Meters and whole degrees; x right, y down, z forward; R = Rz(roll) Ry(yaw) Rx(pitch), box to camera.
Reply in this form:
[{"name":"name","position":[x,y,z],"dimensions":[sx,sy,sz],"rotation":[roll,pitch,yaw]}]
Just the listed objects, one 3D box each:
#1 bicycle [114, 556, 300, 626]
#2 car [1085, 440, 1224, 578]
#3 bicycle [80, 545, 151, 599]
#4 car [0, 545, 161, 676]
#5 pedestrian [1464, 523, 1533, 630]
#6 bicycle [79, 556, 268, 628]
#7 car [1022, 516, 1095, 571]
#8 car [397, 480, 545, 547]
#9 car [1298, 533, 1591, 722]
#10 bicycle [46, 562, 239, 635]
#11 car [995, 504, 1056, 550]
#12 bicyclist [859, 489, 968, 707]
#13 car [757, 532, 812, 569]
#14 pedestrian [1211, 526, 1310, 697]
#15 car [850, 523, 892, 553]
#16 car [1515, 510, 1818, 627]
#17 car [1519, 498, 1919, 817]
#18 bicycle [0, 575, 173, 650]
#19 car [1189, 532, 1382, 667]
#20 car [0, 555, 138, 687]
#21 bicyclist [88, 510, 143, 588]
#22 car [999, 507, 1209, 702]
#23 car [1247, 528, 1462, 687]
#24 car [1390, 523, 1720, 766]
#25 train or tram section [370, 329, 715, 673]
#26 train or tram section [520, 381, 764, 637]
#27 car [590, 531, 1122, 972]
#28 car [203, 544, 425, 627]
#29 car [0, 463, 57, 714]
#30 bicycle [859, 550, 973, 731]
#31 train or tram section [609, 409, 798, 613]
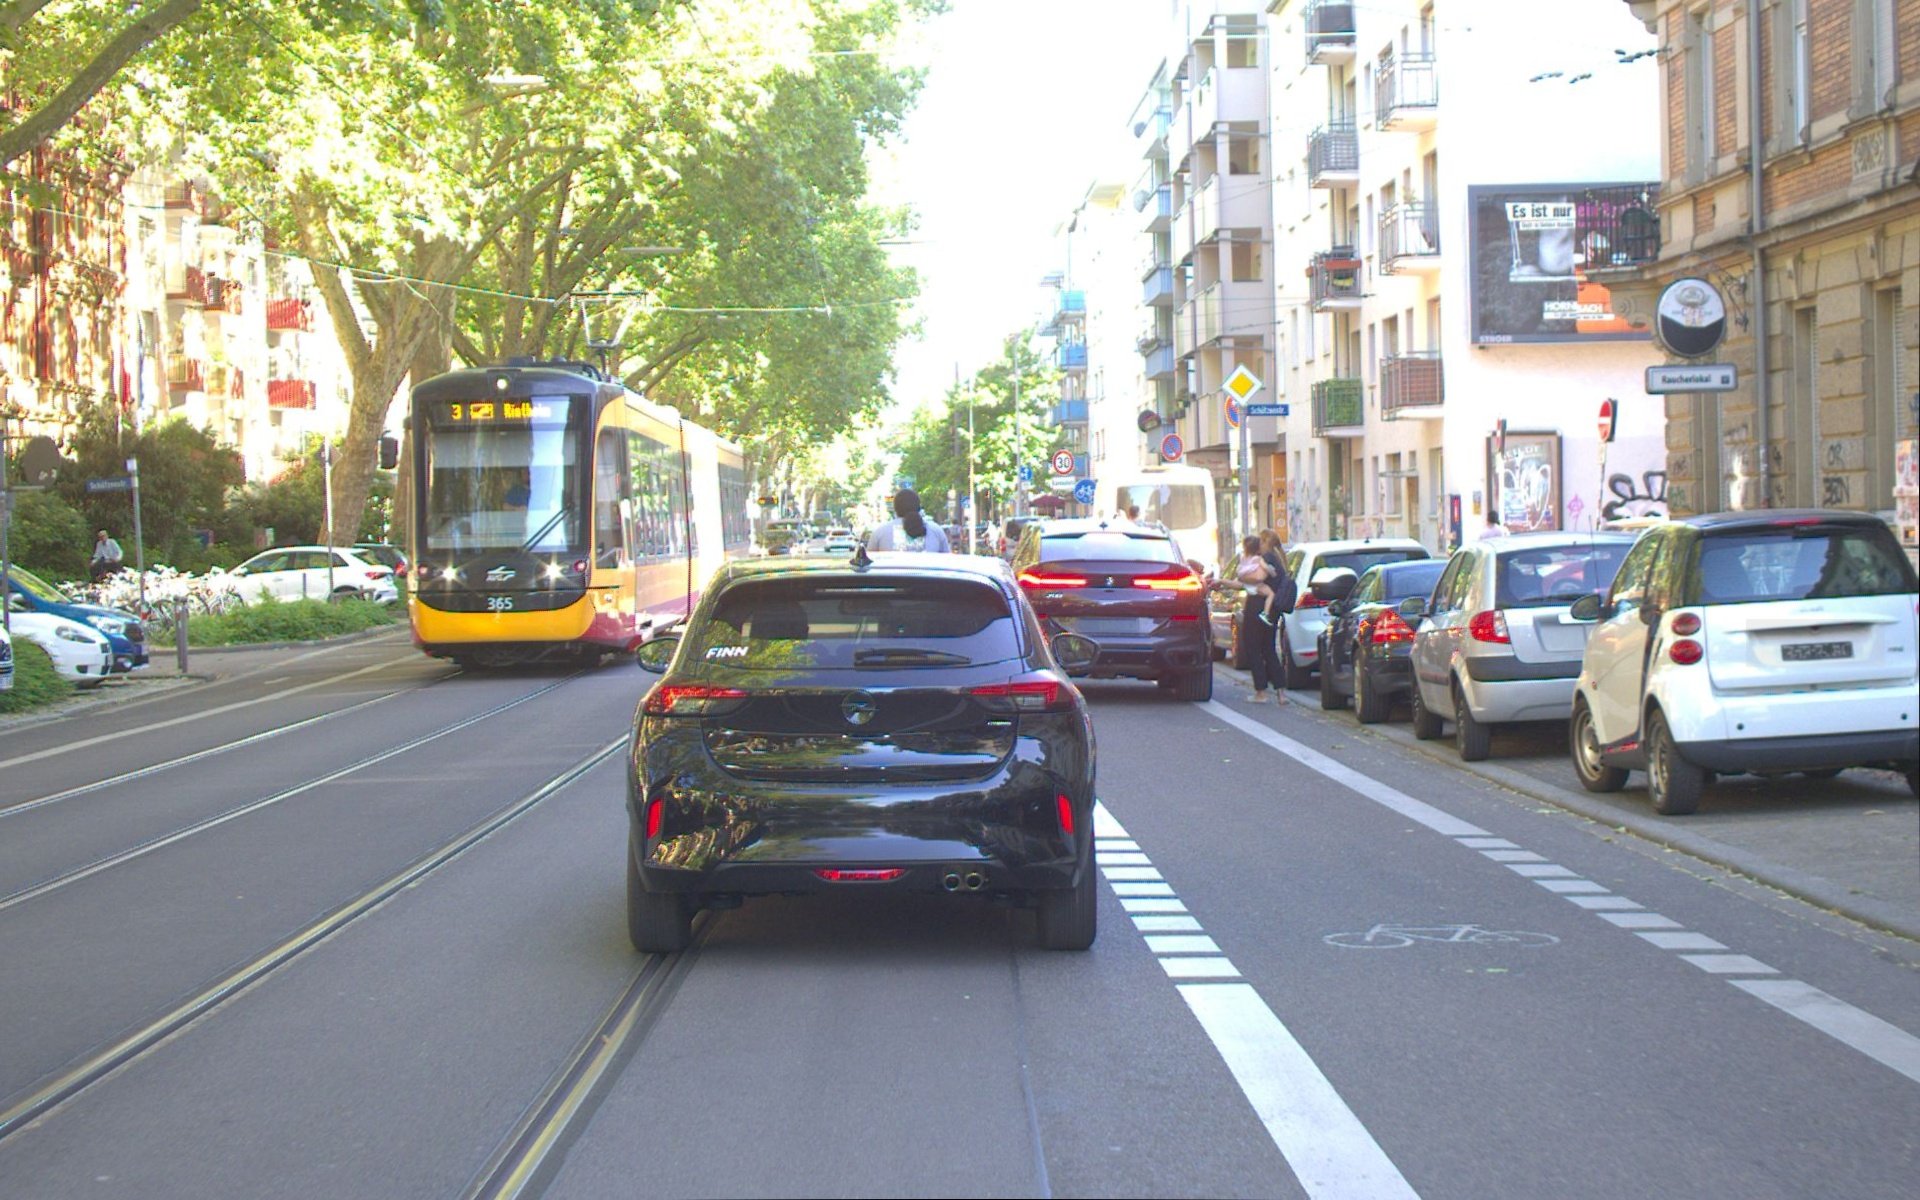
[{"name":"bicycle","position":[-12.738,-0.152,58.185],"dimensions":[2.945,1.165,0.989],"rotation":[0,1,16]},{"name":"car","position":[3.437,-1.614,61.594],"dimensions":[2.075,2.211,4.933],"rotation":[-4,1,0]},{"name":"bicycle","position":[-18.981,-0.640,77.321],"dimensions":[0.987,1.165,2.953],"rotation":[0,1,-3]},{"name":"car","position":[-12.063,0.103,42.733],"dimensions":[3.919,1.572,1.677],"rotation":[1,1,-3]},{"name":"pedestrian","position":[7.880,-0.349,50.331],"dimensions":[0.866,1.561,0.768],"rotation":[0,1,-2]},{"name":"bicycle","position":[-13.066,-0.133,57.120],"dimensions":[2.945,1.165,0.989],"rotation":[0,1,16]},{"name":"car","position":[2.673,-1.552,93.930],"dimensions":[1.810,1.333,3.933],"rotation":[-4,1,0]},{"name":"car","position":[-13.487,-2.385,94.993],"dimensions":[3.919,1.784,1.677],"rotation":[1,1,-3]},{"name":"car","position":[3.952,0.175,28.645],"dimensions":[1.810,1.333,3.933],"rotation":[-4,1,0]},{"name":"bicycle","position":[-13.333,-0.022,56.065],"dimensions":[2.945,1.165,0.989],"rotation":[0,1,16]},{"name":"car","position":[2.116,-2.375,111.794],"dimensions":[1.810,1.333,3.933],"rotation":[-4,1,0]},{"name":"bicyclist","position":[-0.391,-0.029,28.009],"dimensions":[0.848,1.734,1.162],"rotation":[0,1,-2]},{"name":"car","position":[-6.548,-1.865,128.383],"dimensions":[1.810,1.333,3.933],"rotation":[-1,1,0]},{"name":"pedestrian","position":[2.775,0.096,31.841],"dimensions":[0.866,1.561,0.768],"rotation":[0,1,2]},{"name":"car","position":[-4.128,-2.886,159.584],"dimensions":[1.810,1.333,3.933],"rotation":[-1,1,0]},{"name":"car","position":[11.152,-0.506,54.436],"dimensions":[4.377,1.792,1.876],"rotation":[0,1,-1]},{"name":"car","position":[4.239,0.264,18.973],"dimensions":[1.567,1.512,3.041],"rotation":[-4,1,-3]},{"name":"bicycle","position":[-14.138,0.201,54.915],"dimensions":[2.945,1.165,0.989],"rotation":[0,1,16]},{"name":"car","position":[3.748,-0.044,40.154],"dimensions":[1.810,1.375,3.933],"rotation":[-4,1,0]},{"name":"car","position":[-11.775,0.215,40.277],"dimensions":[3.919,1.493,1.677],"rotation":[1,1,-3]},{"name":"bicyclist","position":[-19.016,-1.151,77.432],"dimensions":[0.987,1.750,1.154],"rotation":[0,1,-3]},{"name":"car","position":[1.308,-0.001,32.736],"dimensions":[1.810,1.736,3.933],"rotation":[0,1,0]},{"name":"car","position":[3.956,0.033,35.050],"dimensions":[1.661,1.414,3.933],"rotation":[-4,1,0]},{"name":"car","position":[4.071,0.247,24.026],"dimensions":[1.705,1.451,3.697],"rotation":[-4,1,2]},{"name":"train or tram section","position":[-5.005,-1.204,43.822],"dimensions":[2.735,3.669,12.717],"rotation":[-2,1,0]},{"name":"train or tram section","position":[-5.002,-1.459,56.553],"dimensions":[2.735,3.669,12.717],"rotation":[-2,1,0]},{"name":"car","position":[-0.389,0.480,13.449],"dimensions":[1.794,1.436,3.532],"rotation":[0,2,-1]},{"name":"car","position":[-12.121,-0.276,64.644],"dimensions":[3.919,1.493,1.677],"rotation":[1,1,-3]},{"name":"car","position":[-12.475,-0.160,33.631],"dimensions":[6.627,2.401,2.458],"rotation":[1,1,0]},{"name":"bicycle","position":[-0.378,0.298,28.128],"dimensions":[0.860,1.402,2.524],"rotation":[0,1,-2]},{"name":"train or tram section","position":[-4.992,-1.756,69.287],"dimensions":[2.735,3.669,12.717],"rotation":[-2,1,0]}]
